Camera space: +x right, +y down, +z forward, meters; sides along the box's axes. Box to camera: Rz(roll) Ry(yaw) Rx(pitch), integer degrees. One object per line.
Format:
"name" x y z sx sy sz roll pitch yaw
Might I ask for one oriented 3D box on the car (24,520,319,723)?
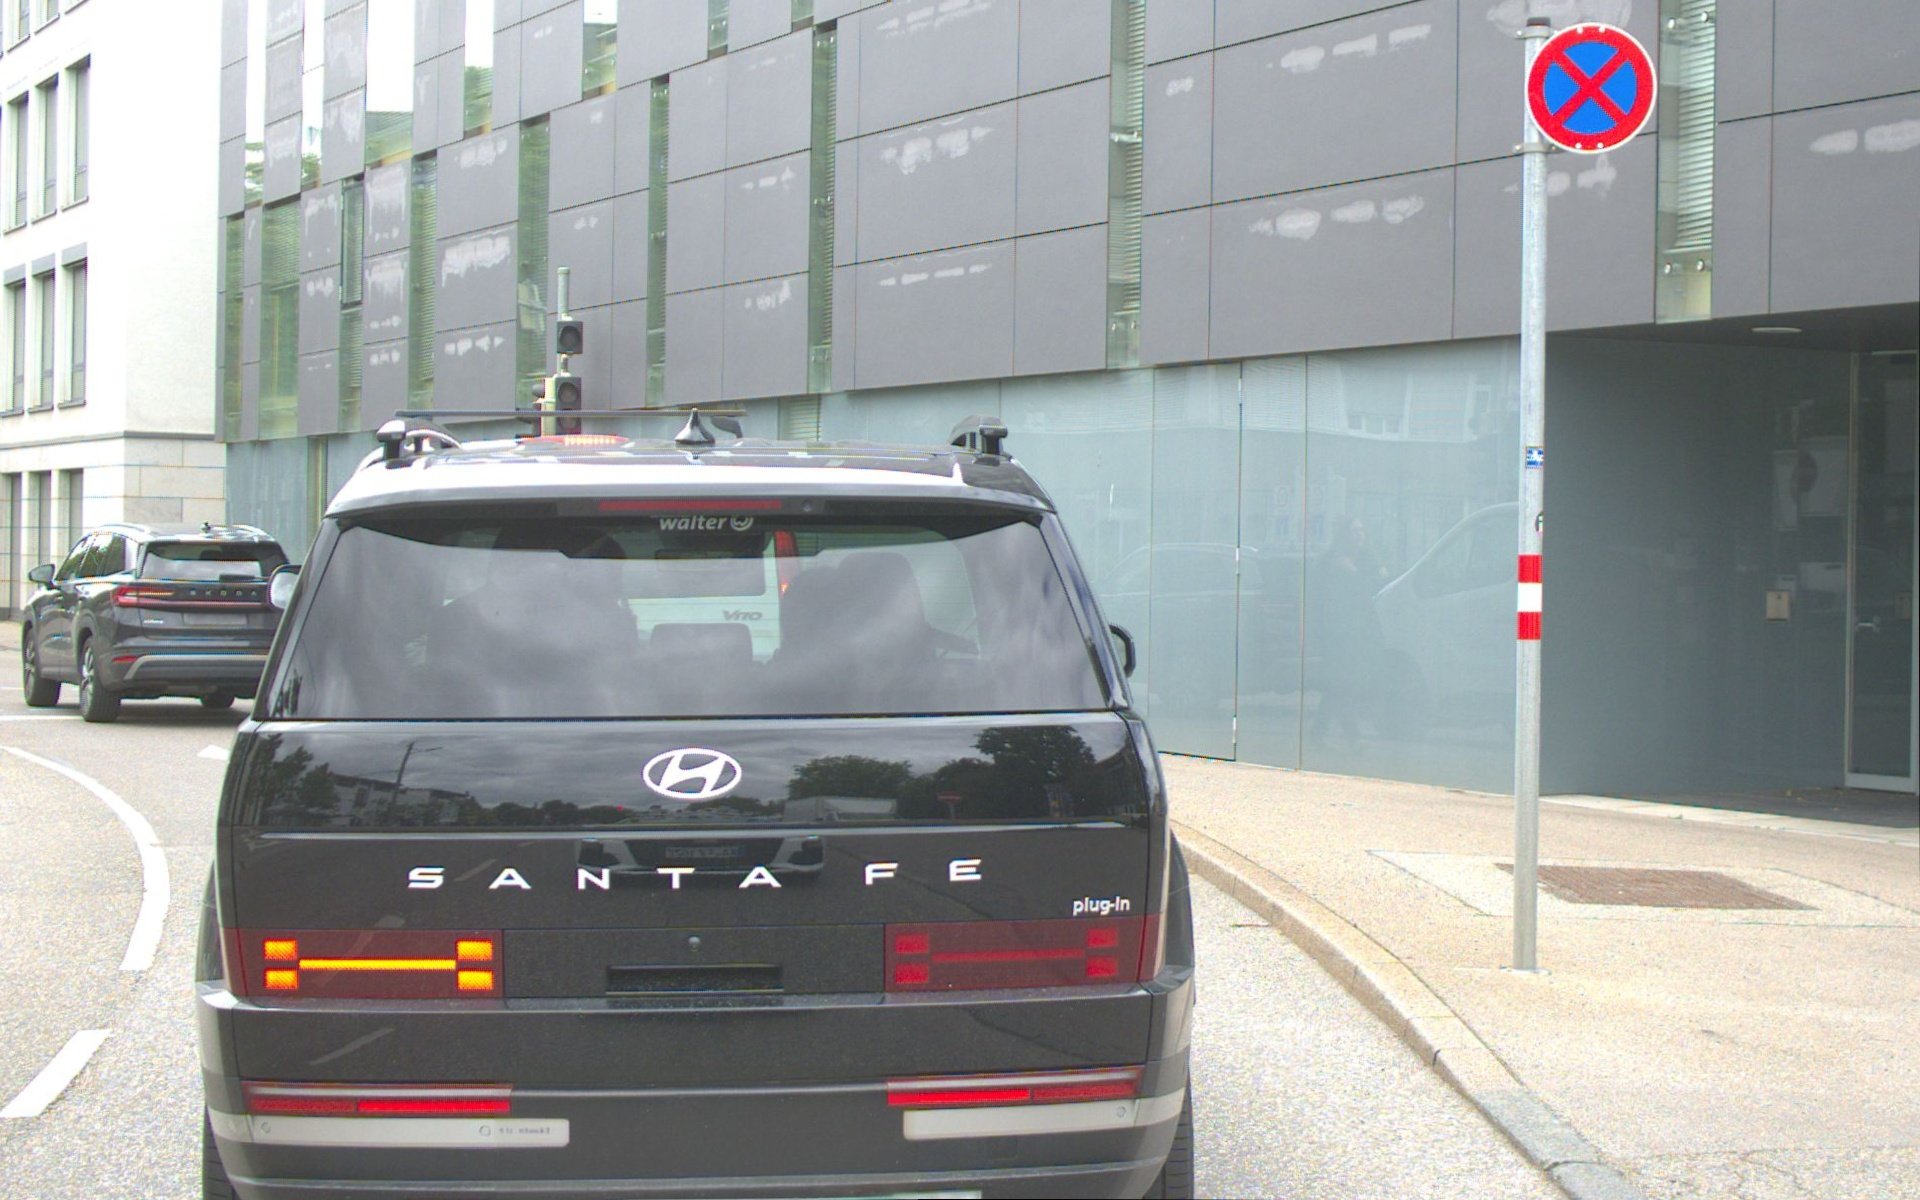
"car" -6.811 0.136 29.403 1.759 1.603 4.189 1 1 -23

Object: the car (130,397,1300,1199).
"car" -0.637 0.507 7.809 1.908 1.743 4.398 0 1 -7

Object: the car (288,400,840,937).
"car" -1.907 0.223 15.152 1.931 1.987 4.536 1 1 -12

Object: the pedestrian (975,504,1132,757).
"pedestrian" 0.633 0.203 23.593 0.711 1.688 0.866 2 0 -26
